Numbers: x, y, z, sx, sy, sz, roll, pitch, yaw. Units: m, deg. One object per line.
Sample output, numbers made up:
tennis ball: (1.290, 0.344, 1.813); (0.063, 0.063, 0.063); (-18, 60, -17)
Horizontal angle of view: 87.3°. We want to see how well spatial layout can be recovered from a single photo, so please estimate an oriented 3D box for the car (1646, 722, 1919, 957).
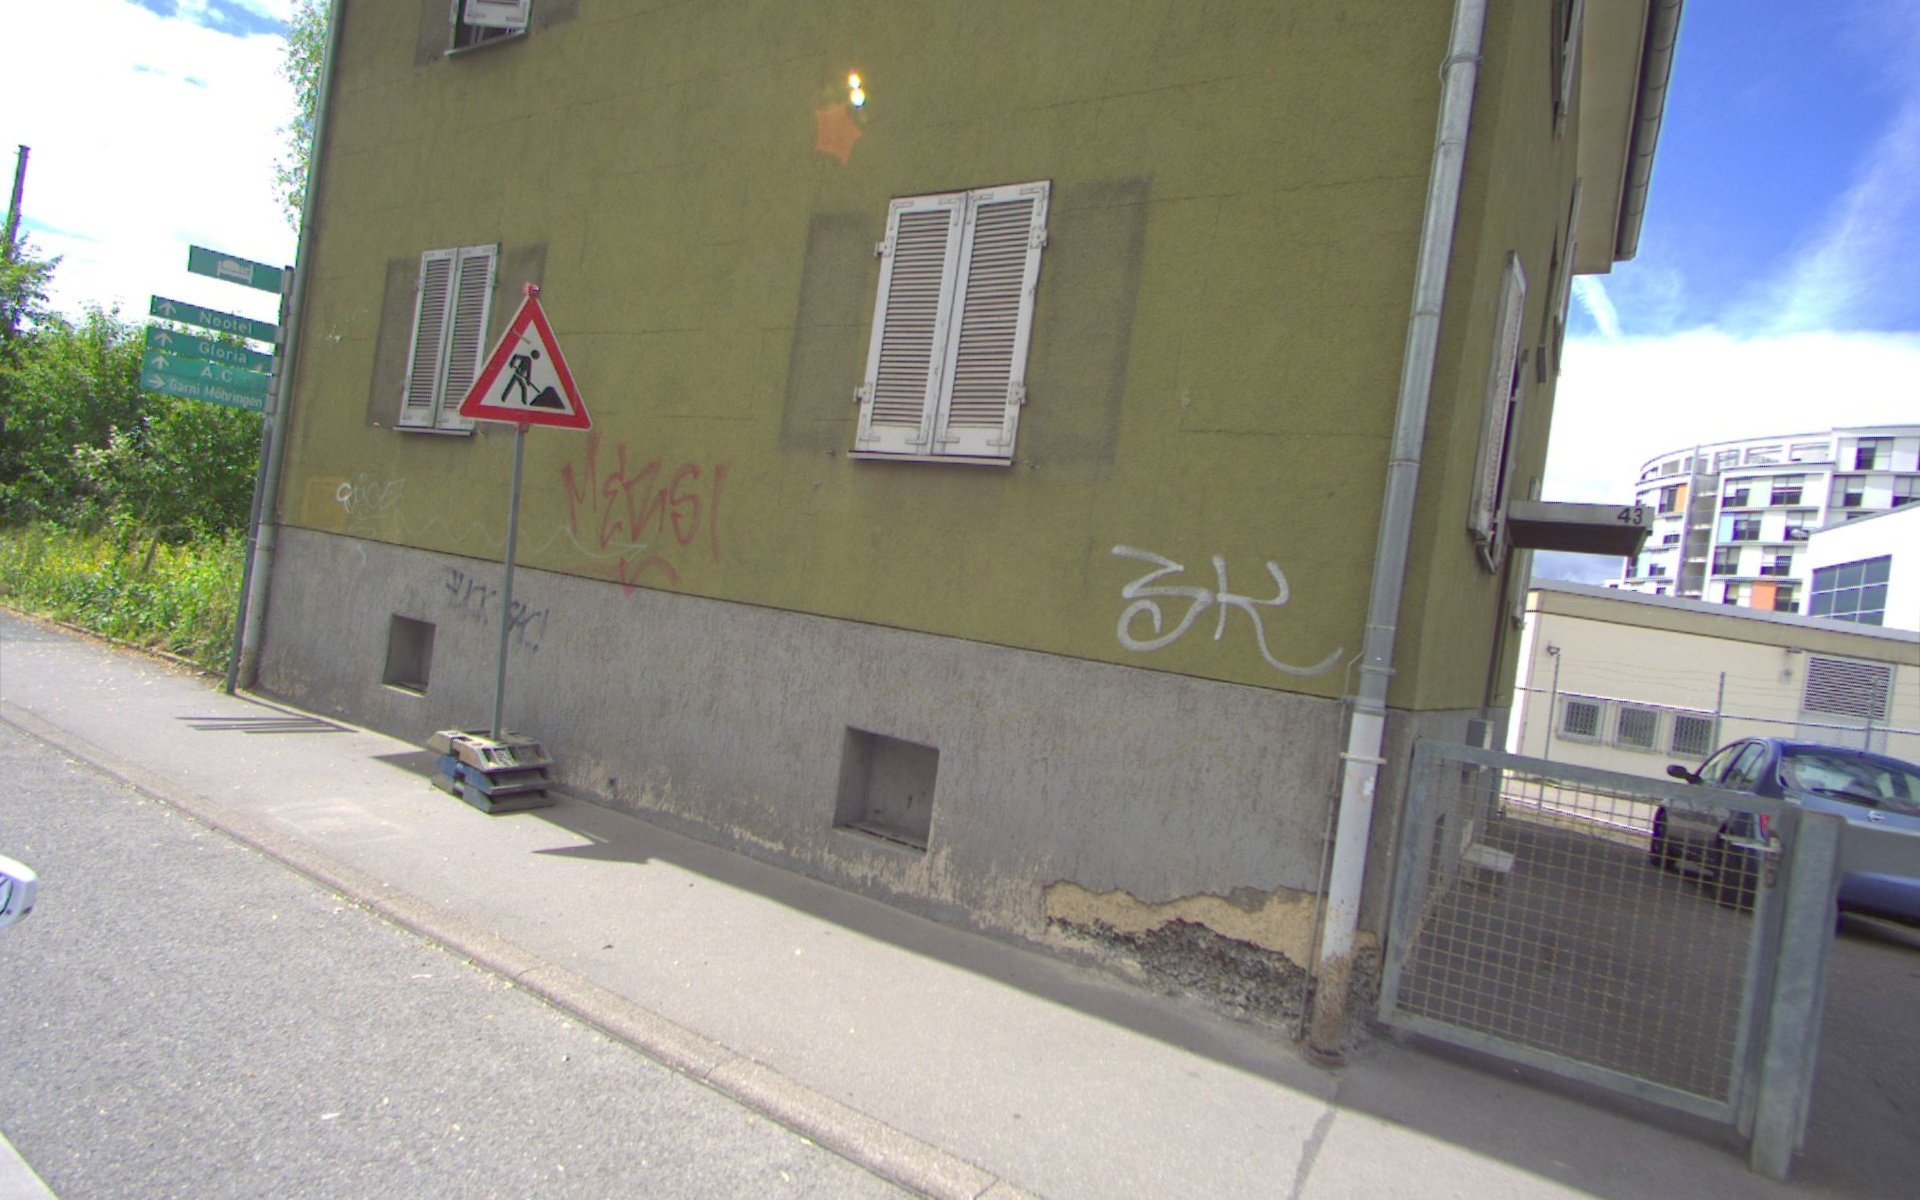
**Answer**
car: (7.759, 2.056, 9.281); (1.629, 1.511, 3.516); (9, -1, 26)
